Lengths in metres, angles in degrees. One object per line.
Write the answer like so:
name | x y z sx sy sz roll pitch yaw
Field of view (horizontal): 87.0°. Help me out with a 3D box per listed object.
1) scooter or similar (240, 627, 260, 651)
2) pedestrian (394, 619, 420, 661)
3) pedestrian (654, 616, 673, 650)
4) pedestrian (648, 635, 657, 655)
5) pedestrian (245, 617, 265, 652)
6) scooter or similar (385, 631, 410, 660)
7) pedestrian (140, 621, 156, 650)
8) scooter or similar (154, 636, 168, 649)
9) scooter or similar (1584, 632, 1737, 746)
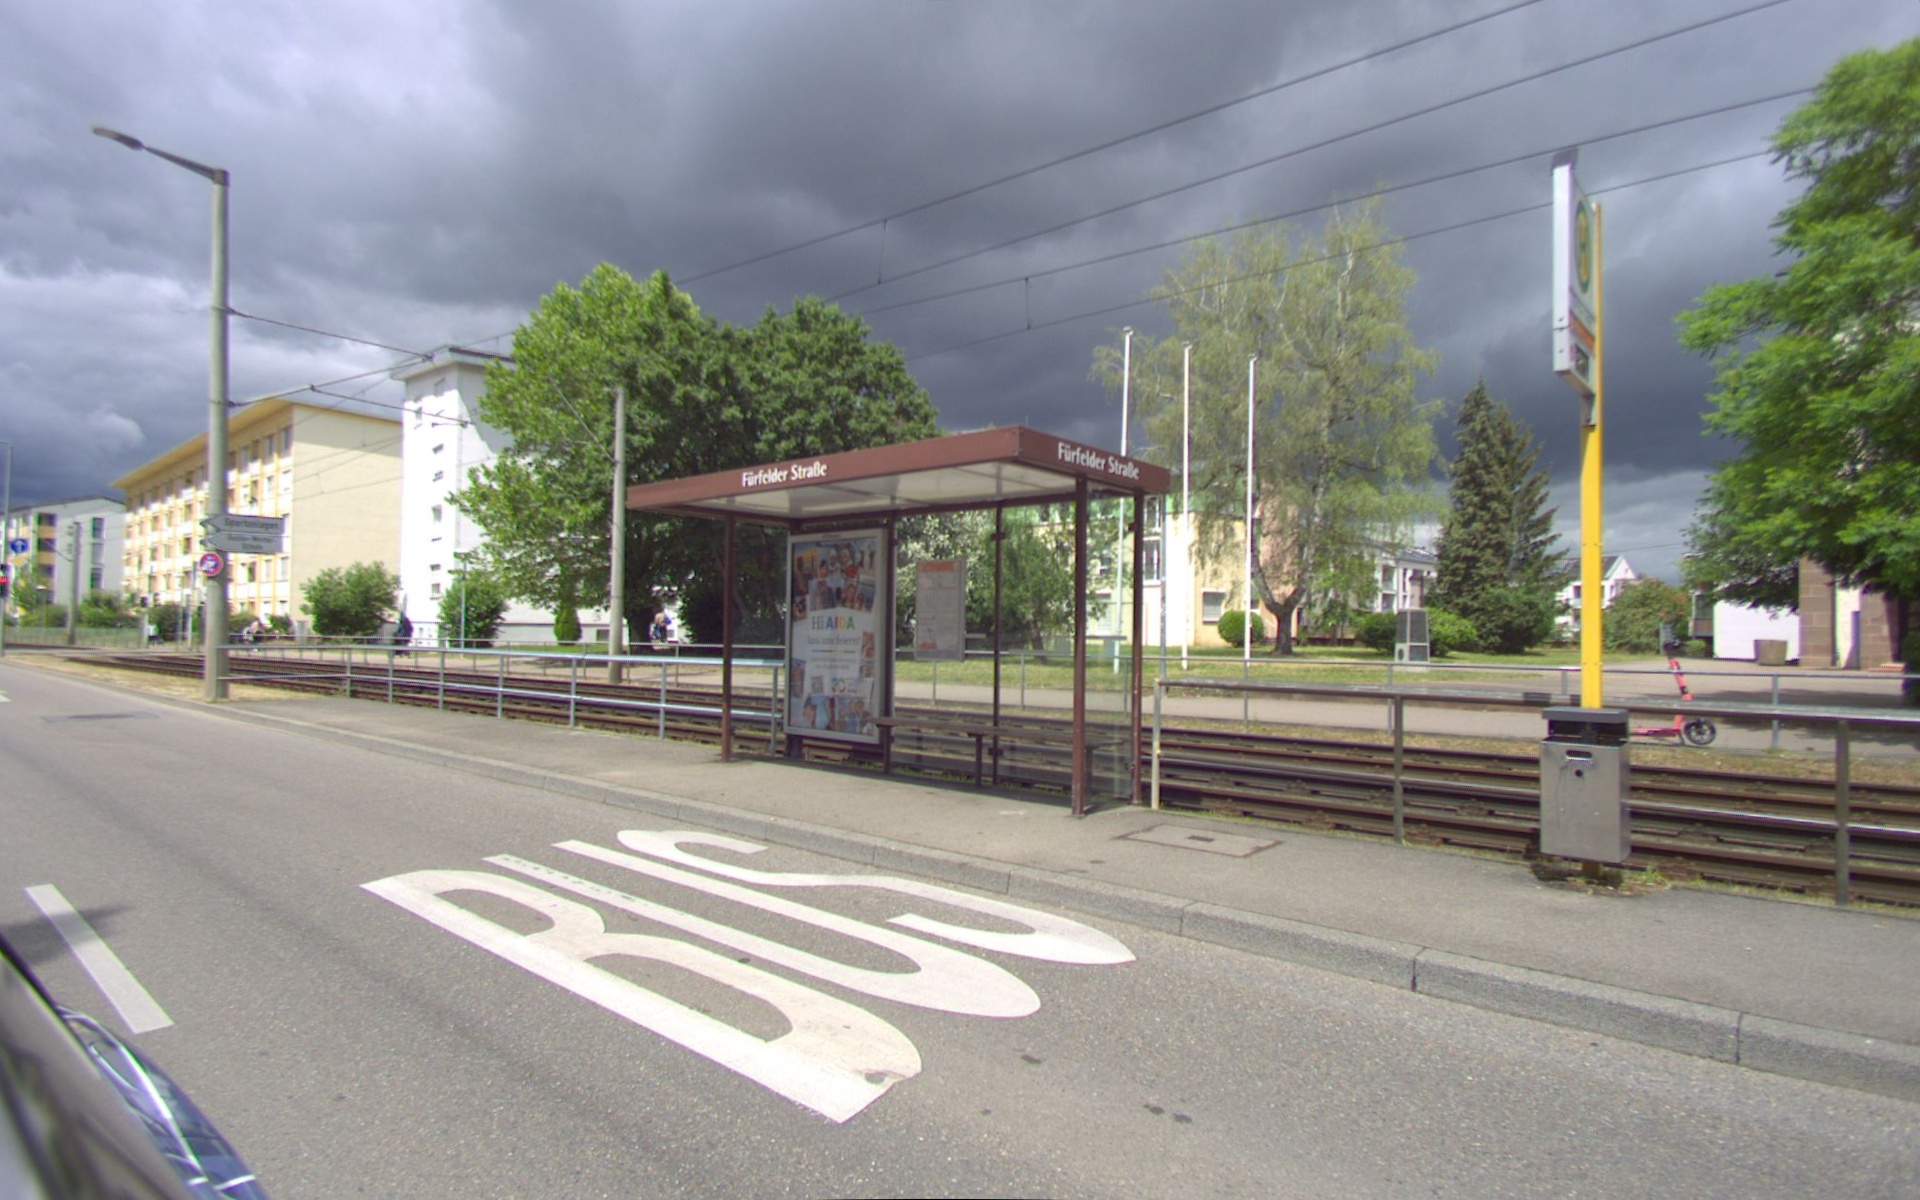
scooter or similar | -35.182 1.927 50.136 0.891 1.172 0.602 -1 -2 41
pedestrian | -21.208 1.525 38.798 0.873 1.552 0.606 -1 -1 39
pedestrian | -14.027 1.557 47.938 0.675 1.553 0.515 -1 4 -44
pedestrian | -14.598 2.141 47.981 0.325 0.889 0.256 -1 4 -39
pedestrian | -34.578 1.673 49.633 0.679 1.705 0.638 -1 -1 41
scooter or similar | -21.873 1.767 39.340 0.820 1.123 0.598 -1 -1 39
pedestrian | -46.889 2.053 58.434 0.773 1.619 0.598 -1 -1 39
scooter or similar | -46.544 2.471 58.976 0.665 0.779 0.527 -1 -1 39
scooter or similar | 8.298 1.020 12.015 1.400 1.246 0.642 -2 -1 42
